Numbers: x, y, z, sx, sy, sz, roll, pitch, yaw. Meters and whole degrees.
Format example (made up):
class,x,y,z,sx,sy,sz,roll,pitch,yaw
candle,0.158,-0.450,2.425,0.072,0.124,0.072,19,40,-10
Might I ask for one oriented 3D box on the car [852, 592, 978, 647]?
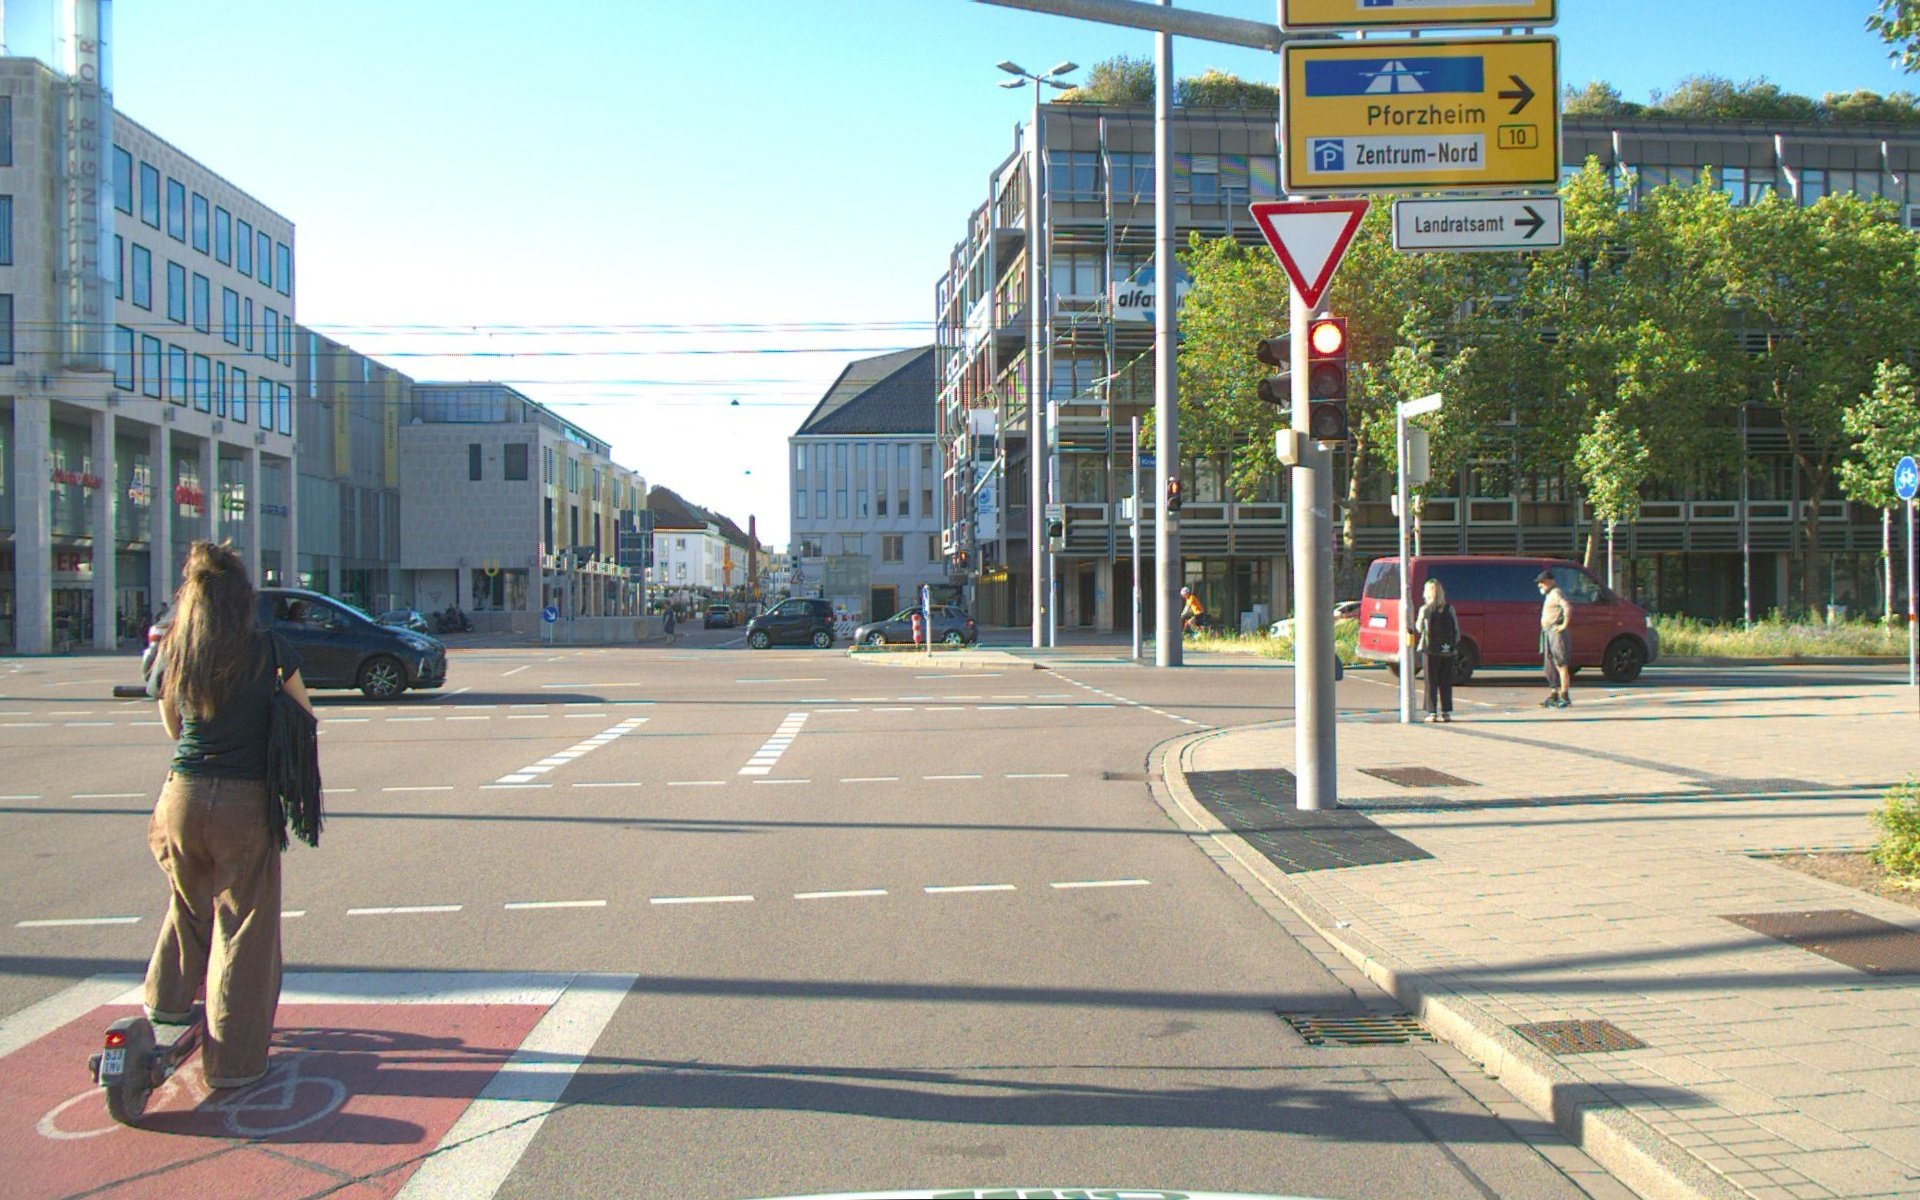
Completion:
class,x,y,z,sx,sy,sz,roll,pitch,yaw
car,-1.437,0.623,53.790,3.903,1.713,1.826,-1,0,4

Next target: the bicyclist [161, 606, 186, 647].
class,x,y,z,sx,sy,sz,roll,pitch,yaw
bicyclist,-28.755,0.961,60.486,0.613,1.473,0.589,-1,0,0

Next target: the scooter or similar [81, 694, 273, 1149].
class,x,y,z,sx,sy,sz,roll,pitch,yaw
scooter or similar,-2.220,0.861,4.743,0.301,1.127,0.836,-1,0,-12

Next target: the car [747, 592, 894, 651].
class,x,y,z,sx,sy,sz,roll,pitch,yaw
car,-4.181,0.633,49.788,4.317,1.713,1.824,-1,0,-4

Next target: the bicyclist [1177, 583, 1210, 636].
class,x,y,z,sx,sy,sz,roll,pitch,yaw
bicyclist,6.672,0.278,47.220,0.806,1.500,0.652,-1,0,-5

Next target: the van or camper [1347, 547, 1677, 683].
class,x,y,z,sx,sy,sz,roll,pitch,yaw
van or camper,8.859,0.207,26.665,4.745,2.049,2.000,-1,0,-14

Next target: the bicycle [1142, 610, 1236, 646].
class,x,y,z,sx,sy,sz,roll,pitch,yaw
bicycle,6.521,0.797,47.200,2.517,0.992,1.047,-1,0,-4

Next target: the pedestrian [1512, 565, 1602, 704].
class,x,y,z,sx,sy,sz,roll,pitch,yaw
pedestrian,7.668,0.435,21.270,0.854,1.736,0.768,-1,0,-3

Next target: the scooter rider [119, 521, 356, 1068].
class,x,y,z,sx,sy,sz,roll,pitch,yaw
scooter rider,-2.156,0.552,4.982,0.542,1.556,0.448,-1,0,-9

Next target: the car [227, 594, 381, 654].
class,x,y,z,sx,sy,sz,roll,pitch,yaw
car,-19.625,0.709,49.602,3.907,1.713,1.761,-1,0,-2

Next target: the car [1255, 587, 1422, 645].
class,x,y,z,sx,sy,sz,roll,pitch,yaw
car,11.752,0.479,51.545,4.749,1.713,1.824,-1,0,-4

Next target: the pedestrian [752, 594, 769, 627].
class,x,y,z,sx,sy,sz,roll,pitch,yaw
pedestrian,-11.107,0.581,92.174,0.881,1.814,0.808,0,0,-1

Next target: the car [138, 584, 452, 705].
class,x,y,z,sx,sy,sz,roll,pitch,yaw
car,-9.016,0.575,22.725,3.797,1.536,1.665,-1,0,-16

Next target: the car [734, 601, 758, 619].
class,x,y,z,sx,sy,sz,roll,pitch,yaw
car,-18.812,0.853,145.405,1.625,1.484,3.541,-1,0,-1

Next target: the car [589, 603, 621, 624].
class,x,y,z,sx,sy,sz,roll,pitch,yaw
car,-26.019,0.975,121.184,1.625,1.484,3.541,-1,0,-1

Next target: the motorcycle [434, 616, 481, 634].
class,x,y,z,sx,sy,sz,roll,pitch,yaw
motorcycle,-29.691,1.487,97.770,2.555,1.010,1.113,1,0,-10

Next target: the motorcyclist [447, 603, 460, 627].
class,x,y,z,sx,sy,sz,roll,pitch,yaw
motorcyclist,-29.944,0.879,97.841,0.616,1.430,0.661,1,-1,-9

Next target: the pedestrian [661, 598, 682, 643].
class,x,y,z,sx,sy,sz,roll,pitch,yaw
pedestrian,-11.066,0.787,63.422,0.685,1.718,0.619,-1,0,0

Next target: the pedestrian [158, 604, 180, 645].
class,x,y,z,sx,sy,sz,roll,pitch,yaw
pedestrian,-32.512,1.005,67.971,0.580,1.674,0.629,-1,0,-1

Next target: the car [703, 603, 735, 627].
class,x,y,z,sx,sy,sz,roll,pitch,yaw
car,-15.701,0.962,107.820,1.625,1.484,3.541,-1,0,-1

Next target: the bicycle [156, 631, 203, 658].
class,x,y,z,sx,sy,sz,roll,pitch,yaw
bicycle,-28.521,1.625,60.457,0.622,0.919,2.218,-1,0,0

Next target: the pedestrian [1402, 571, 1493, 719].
class,x,y,z,sx,sy,sz,roll,pitch,yaw
pedestrian,5.575,0.503,18.947,0.750,1.642,0.874,-1,0,-2

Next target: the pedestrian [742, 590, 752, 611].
class,x,y,z,sx,sy,sz,roll,pitch,yaw
pedestrian,-21.155,0.050,164.358,0.892,1.999,0.822,1,-1,-1

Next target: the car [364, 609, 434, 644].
class,x,y,z,sx,sy,sz,roll,pitch,yaw
car,-23.489,1.080,69.350,1.642,1.381,4.019,-1,0,-2
